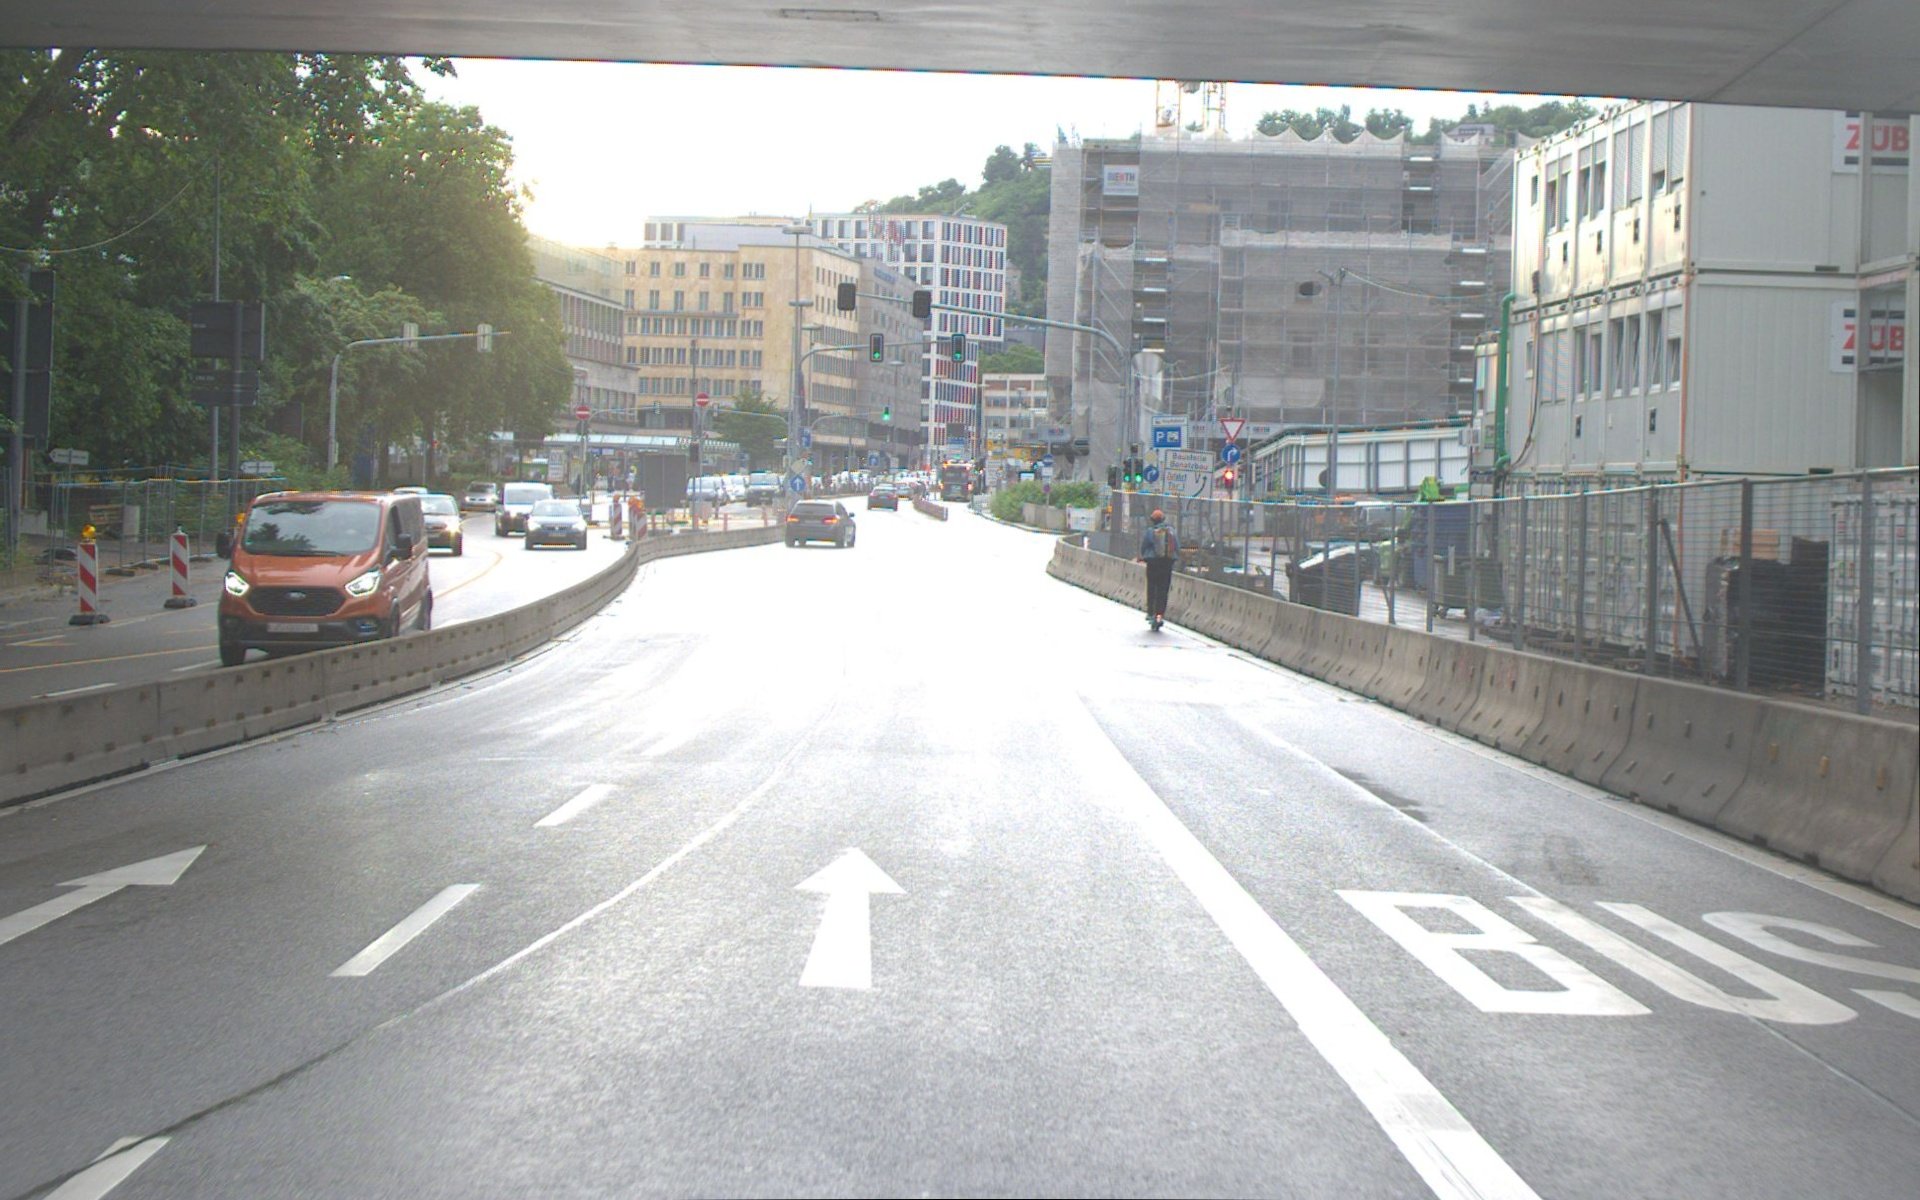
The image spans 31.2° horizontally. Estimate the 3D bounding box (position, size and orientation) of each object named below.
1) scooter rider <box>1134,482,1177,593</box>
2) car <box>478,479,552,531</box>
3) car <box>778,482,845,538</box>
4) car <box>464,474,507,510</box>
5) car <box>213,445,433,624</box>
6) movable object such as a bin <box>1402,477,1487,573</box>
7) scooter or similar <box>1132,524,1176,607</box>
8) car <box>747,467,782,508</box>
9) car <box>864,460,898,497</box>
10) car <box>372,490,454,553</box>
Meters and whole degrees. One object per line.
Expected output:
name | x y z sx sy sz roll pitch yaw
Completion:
scooter rider | 3.189 -1.020 56.108 0.597 1.779 0.997 2 1 1
car | -14.850 -3.156 114.966 2.030 1.648 4.912 0 0 -2
car | -4.589 -2.748 105.864 1.901 1.523 4.177 0 -1 -4
car | -23.597 -5.367 171.028 1.993 1.536 4.446 0 -1 -6
car | -7.478 -0.717 40.818 2.030 1.930 5.044 0 -1 -4
movable object such as a bin | 11.497 -1.786 81.577 1.456 2.195 1.265 1 2 -25
scooter or similar | 3.169 -0.575 56.156 0.597 1.314 1.667 2 1 1
car | -10.914 -6.270 191.686 1.901 2.075 4.177 0 -1 -4
car | -4.702 -7.246 204.966 1.993 2.007 4.000 0 -1 0
car | -14.728 -2.136 92.729 2.030 1.647 4.320 1 2 -7
